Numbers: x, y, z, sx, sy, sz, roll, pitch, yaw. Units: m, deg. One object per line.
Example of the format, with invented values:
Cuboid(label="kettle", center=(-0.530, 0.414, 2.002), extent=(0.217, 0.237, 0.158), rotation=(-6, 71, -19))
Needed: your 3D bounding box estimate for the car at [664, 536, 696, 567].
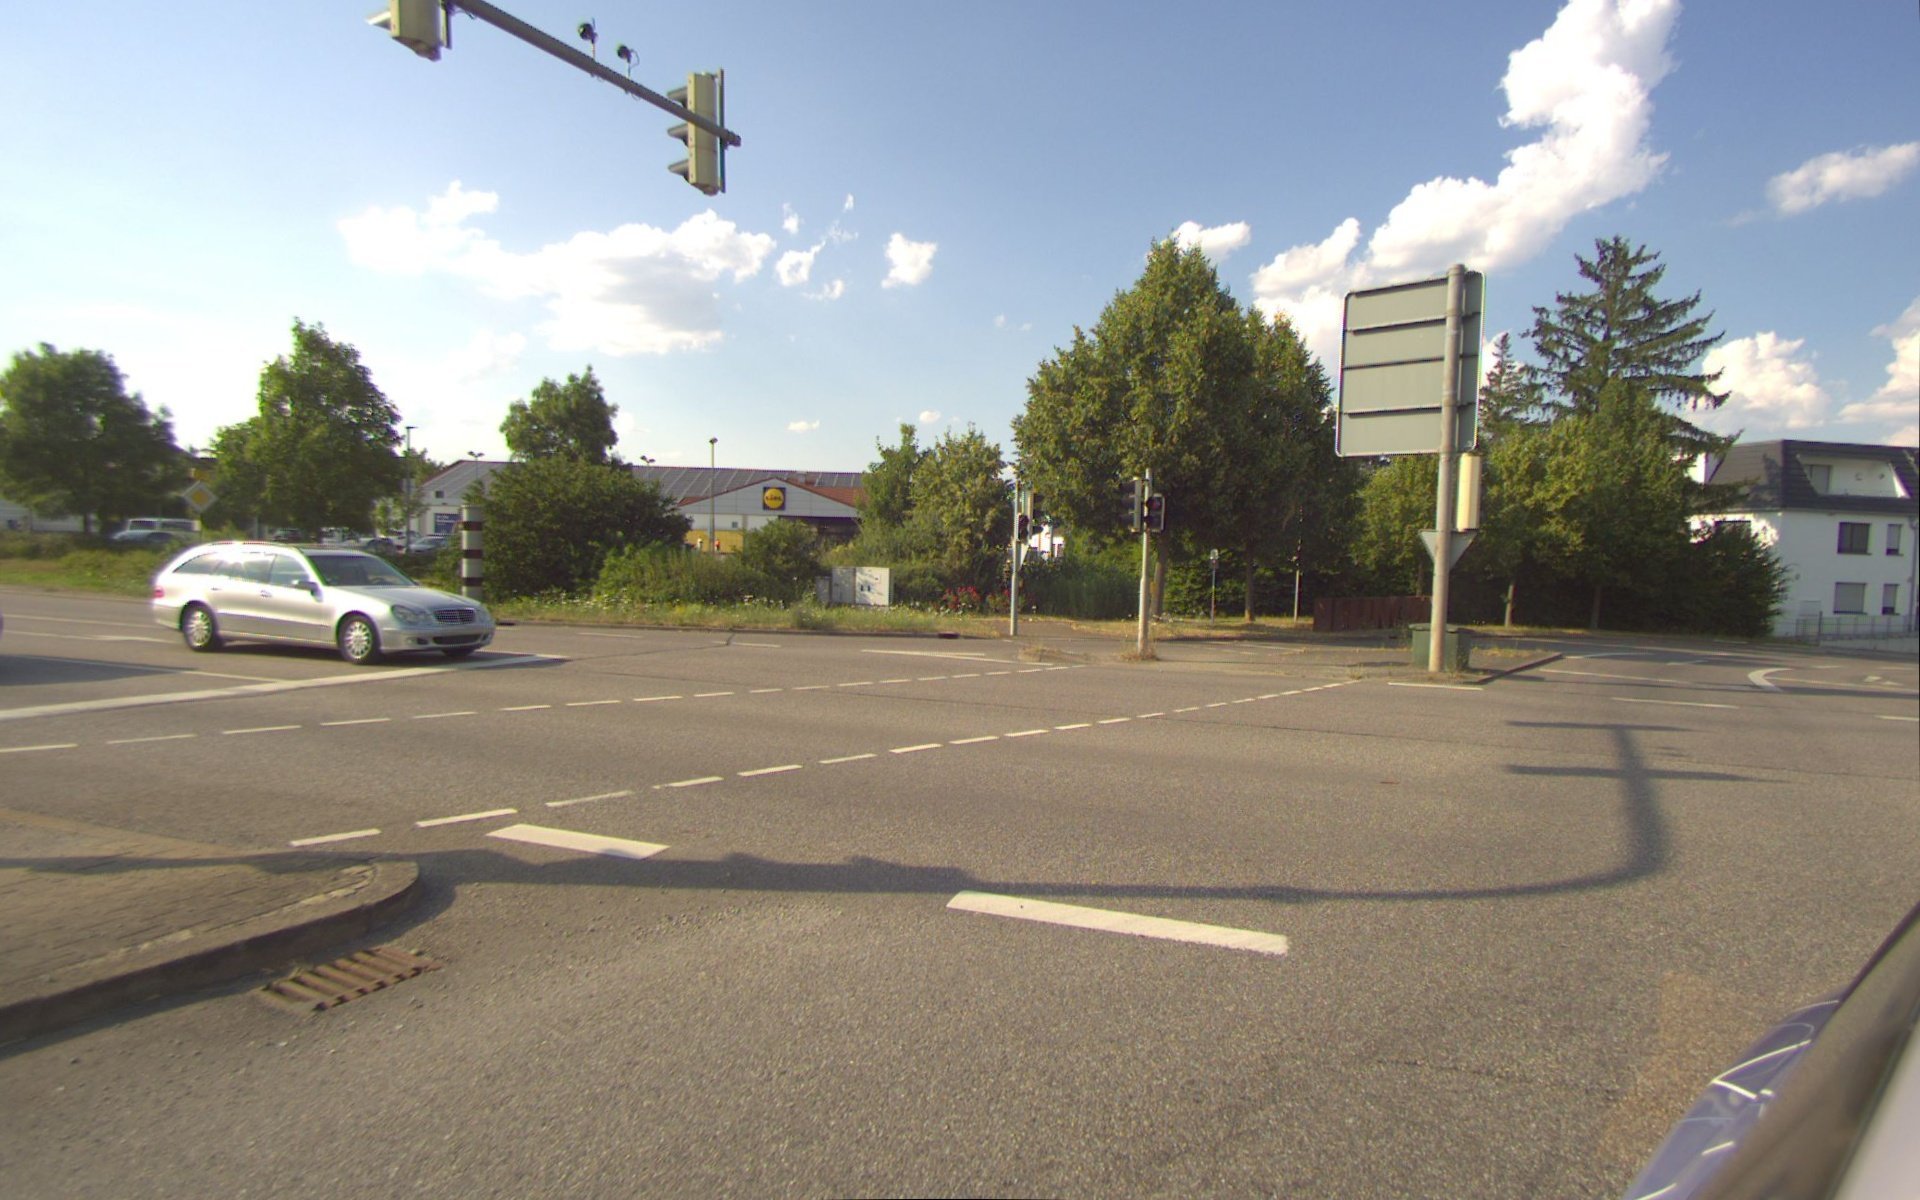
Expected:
Cuboid(label="car", center=(-19.709, -3.389, 71.329), extent=(1.687, 2.038, 4.007), rotation=(1, 2, -9))

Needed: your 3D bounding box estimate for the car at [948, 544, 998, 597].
Cuboid(label="car", center=(0.603, -1.486, 51.878), extent=(1.960, 2.538, 5.145), rotation=(2, 1, -5))

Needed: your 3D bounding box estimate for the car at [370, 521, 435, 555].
Cuboid(label="car", center=(-39.044, -4.298, 70.981), extent=(1.961, 2.039, 4.935), rotation=(2, 0, -2))

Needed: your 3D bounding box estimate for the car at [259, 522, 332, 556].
Cuboid(label="car", center=(-46.531, -4.250, 71.028), extent=(1.961, 2.039, 4.935), rotation=(2, 0, -2))

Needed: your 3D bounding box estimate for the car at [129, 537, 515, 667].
Cuboid(label="car", center=(-8.822, -0.029, 14.019), extent=(4.889, 1.532, 1.852), rotation=(2, 1, 19))

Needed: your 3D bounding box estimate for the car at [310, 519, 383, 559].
Cuboid(label="car", center=(-35.901, -3.528, 59.364), extent=(1.927, 2.039, 4.664), rotation=(2, 1, -8))

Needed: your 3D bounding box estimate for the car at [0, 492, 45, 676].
Cuboid(label="car", center=(-12.692, -0.319, 10.975), extent=(4.753, 1.972, 1.896), rotation=(4, 1, 17))

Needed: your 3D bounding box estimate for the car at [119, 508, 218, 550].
Cuboid(label="car", center=(-45.694, -4.043, 58.594), extent=(1.961, 2.039, 4.935), rotation=(2, 0, -2))

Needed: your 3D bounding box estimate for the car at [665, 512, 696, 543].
Cuboid(label="car", center=(-20.939, -5.407, 75.895), extent=(1.918, 2.039, 4.008), rotation=(2, 1, -11))
